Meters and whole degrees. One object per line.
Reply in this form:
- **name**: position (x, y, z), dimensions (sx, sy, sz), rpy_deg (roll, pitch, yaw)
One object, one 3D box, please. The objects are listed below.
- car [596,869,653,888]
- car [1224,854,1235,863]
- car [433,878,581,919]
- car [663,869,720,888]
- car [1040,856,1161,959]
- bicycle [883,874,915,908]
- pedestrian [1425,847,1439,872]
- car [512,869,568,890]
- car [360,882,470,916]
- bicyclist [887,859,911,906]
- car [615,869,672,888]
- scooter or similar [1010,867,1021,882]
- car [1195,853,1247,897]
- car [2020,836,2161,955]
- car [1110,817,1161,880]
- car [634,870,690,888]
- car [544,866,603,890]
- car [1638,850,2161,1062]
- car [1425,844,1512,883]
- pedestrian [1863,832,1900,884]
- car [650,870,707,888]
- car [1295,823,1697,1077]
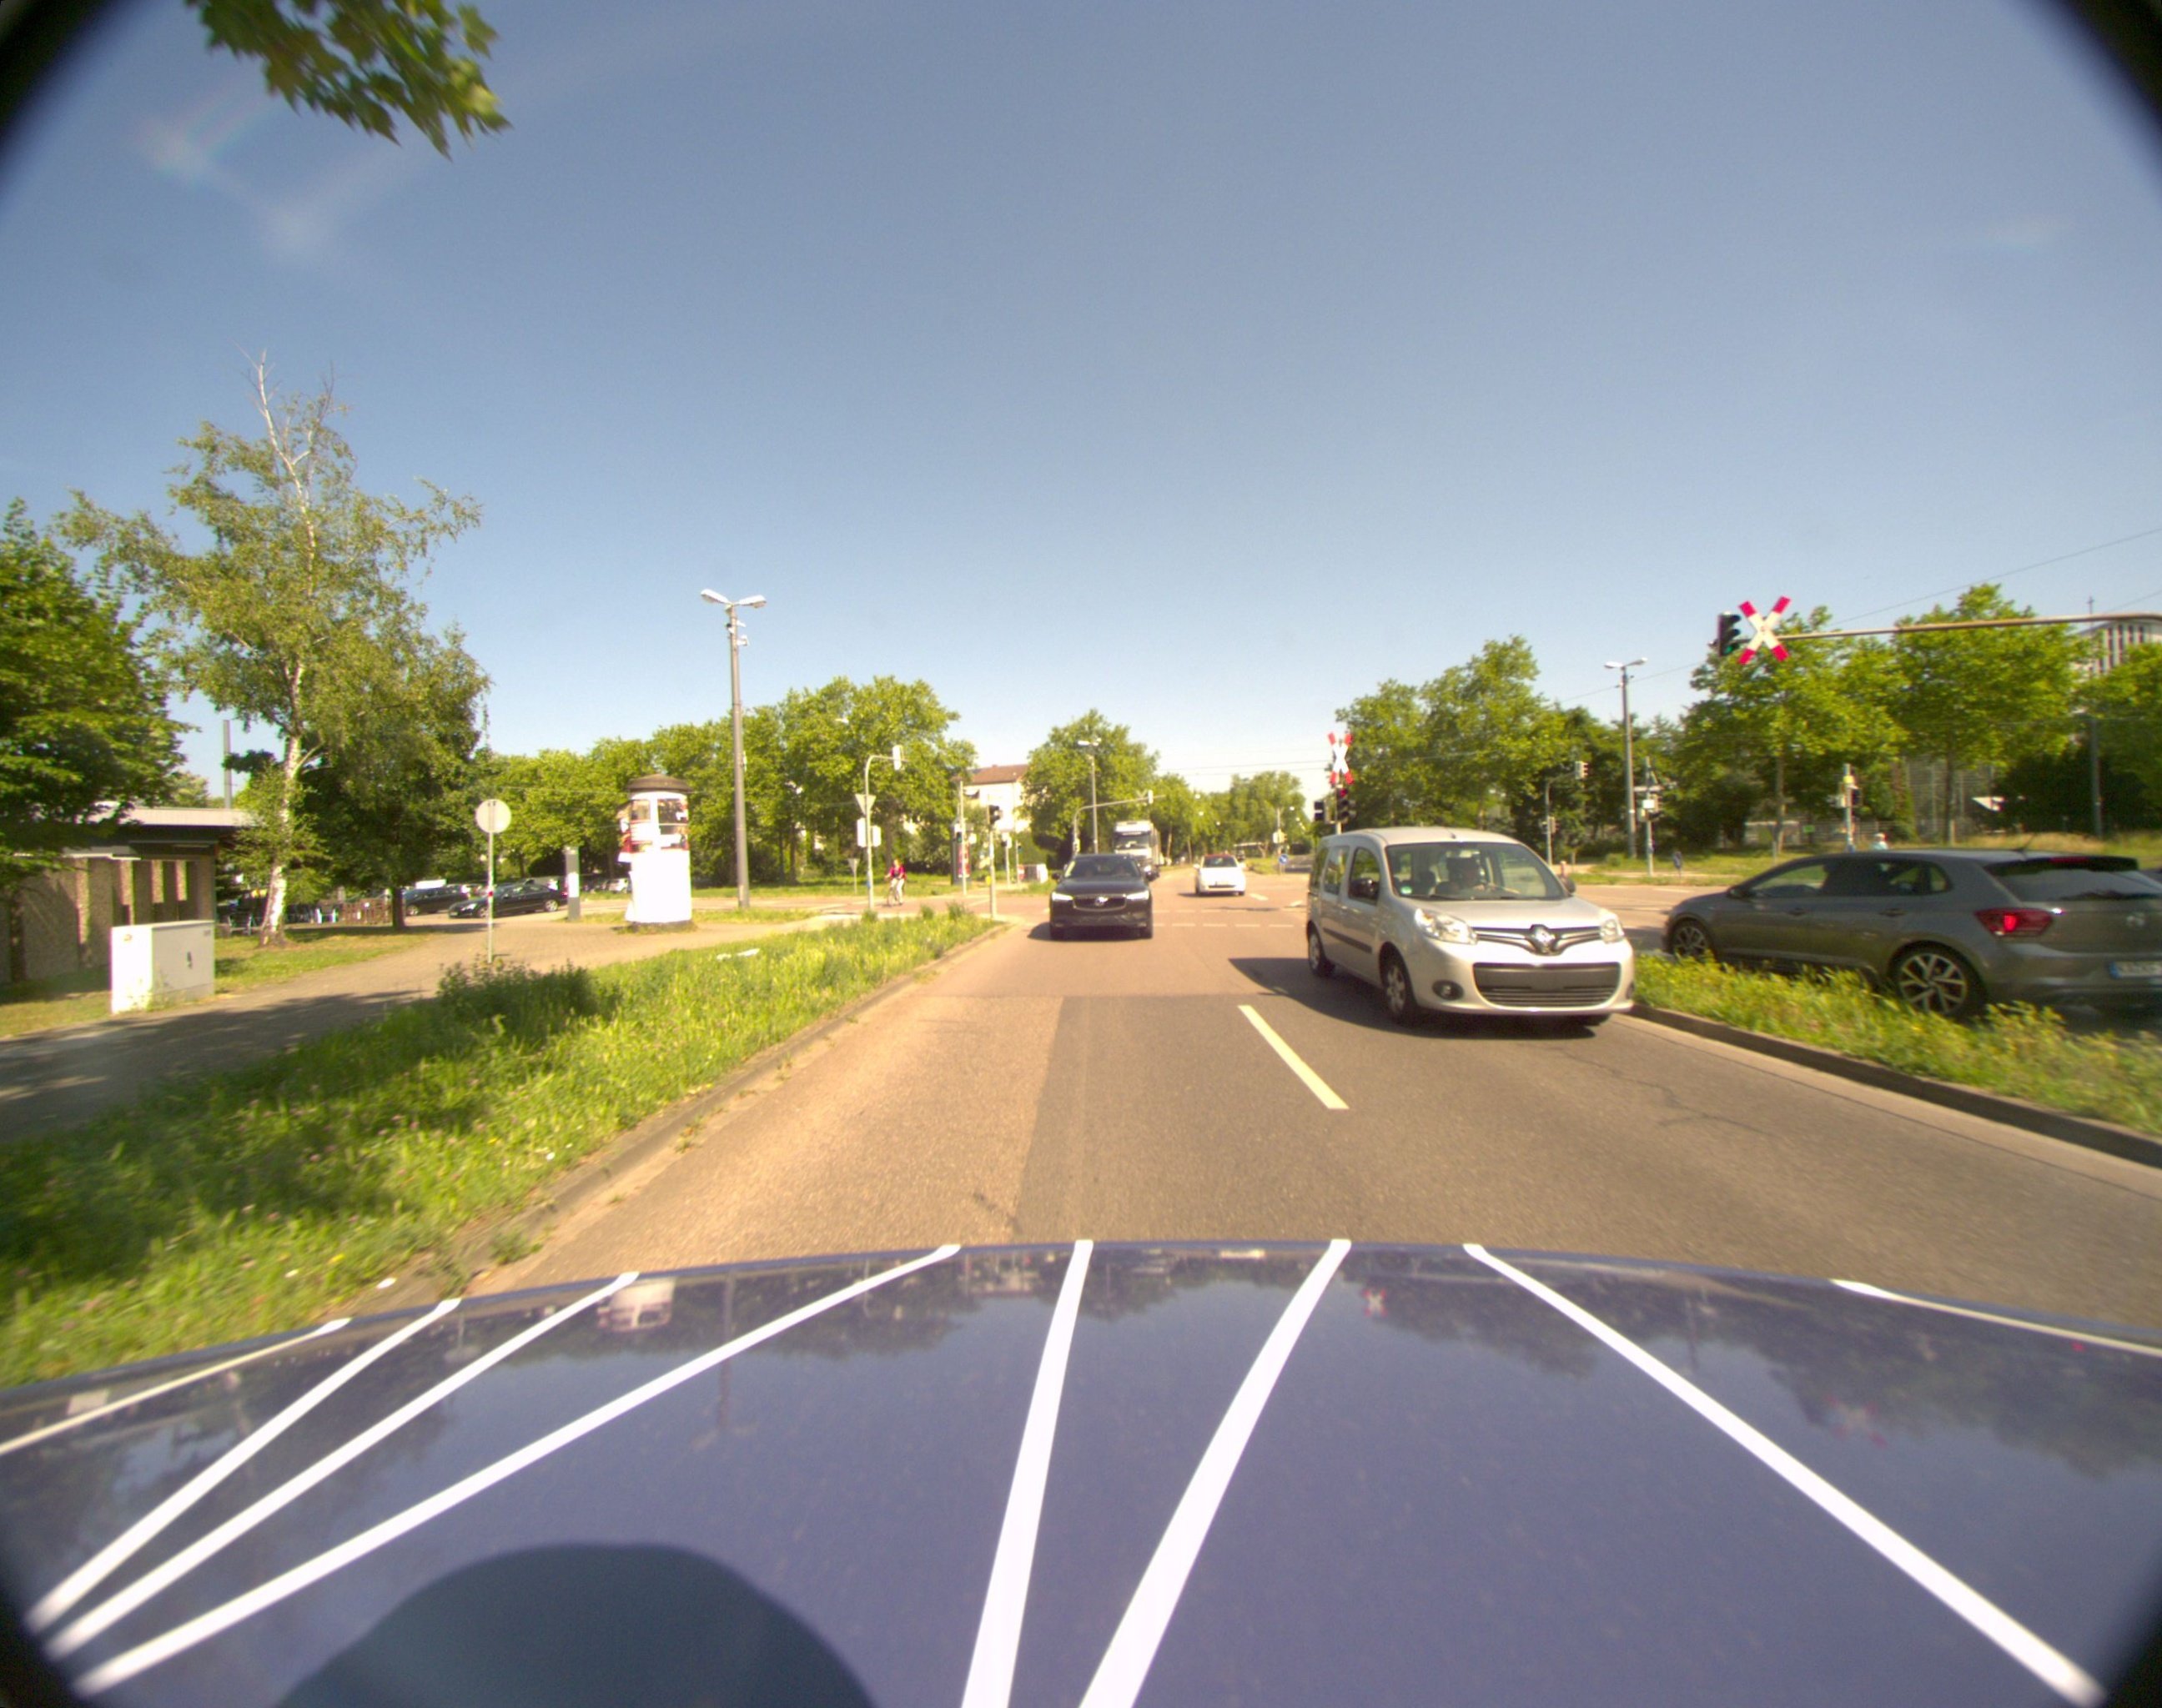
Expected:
- **car**: position (-44.360, 2.394, 73.936), dimensions (1.996, 1.623, 4.361), rpy_deg (-2, 0, 21)
- **car**: position (35.304, 1.079, 180.662), dimensions (1.995, 2.001, 4.006), rpy_deg (-2, 0, 22)
- **car**: position (-27.101, 2.070, 36.118), dimensions (2.138, 1.490, 5.126), rpy_deg (-2, 1, 24)
- **car**: position (-35.261, 2.183, 68.947), dimensions (1.996, 1.482, 4.361), rpy_deg (-2, 0, 21)
- **car**: position (0.492, 0.871, 14.567), dimensions (1.903, 1.605, 4.874), rpy_deg (-1, 0, 4)
- **bicycle**: position (-7.025, 1.412, 29.440), dimensions (0.693, 1.178, 2.125), rpy_deg (-2, 0, 0)
- **pedestrian**: position (21.797, 0.321, 47.177), dimensions (0.607, 1.525, 0.569), rpy_deg (-2, 0, 3)
- **car**: position (-59.089, 2.762, 83.064), dimensions (1.996, 2.196, 4.597), rpy_deg (-2, 0, 21)
- **car**: position (-36.102, 2.417, 41.370), dimensions (2.141, 1.490, 4.207), rpy_deg (-3, 0, 3)
- **bicyclist**: position (-7.039, 1.081, 29.387), dimensions (0.702, 1.776, 0.810), rpy_deg (-2, 0, 0)
- **car**: position (-41.852, 2.321, 72.726), dimensions (1.996, 1.623, 4.361), rpy_deg (-3, -1, 21)
- **scooter or similar**: position (-5.297, 1.622, 61.003), dimensions (0.517, 1.135, 1.444), rpy_deg (-3, 1, -18)
- **car**: position (5.135, 0.741, 28.360), dimensions (1.688, 1.482, 4.378), rpy_deg (-2, 0, 8)
- **car**: position (15.103, 0.538, 9.316), dimensions (1.713, 1.580, 4.433), rpy_deg (0, 0, 0)
- **car**: position (3.747, -0.324, 50.961), dimensions (2.901, 3.897, 7.146), rpy_deg (-1, 0, 7)
- **car**: position (-39.552, 2.352, 71.878), dimensions (1.996, 1.482, 4.361), rpy_deg (-2, 0, 21)
- **car**: position (-52.002, 2.461, 78.017), dimensions (1.995, 2.276, 4.598), rpy_deg (-2, 0, 26)
- **car**: position (7.818, 0.750, 7.557), dimensions (1.698, 1.499, 4.130), rpy_deg (-2, 0, 4)
- **car**: position (16.659, 0.390, 32.916), dimensions (1.697, 1.499, 4.663), rpy_deg (-2, 0, 5)
- **pedestrian**: position (24.607, 0.124, 23.369), dimensions (0.366, 1.552, 0.668), rpy_deg (-2, 0, -17)
- **car**: position (-37.240, 2.273, 70.466), dimensions (1.996, 1.482, 4.361), rpy_deg (-2, 0, 21)
- **car**: position (3.618, 0.697, 7.705), dimensions (1.876, 1.829, 4.376), rpy_deg (-1, 0, 3)
